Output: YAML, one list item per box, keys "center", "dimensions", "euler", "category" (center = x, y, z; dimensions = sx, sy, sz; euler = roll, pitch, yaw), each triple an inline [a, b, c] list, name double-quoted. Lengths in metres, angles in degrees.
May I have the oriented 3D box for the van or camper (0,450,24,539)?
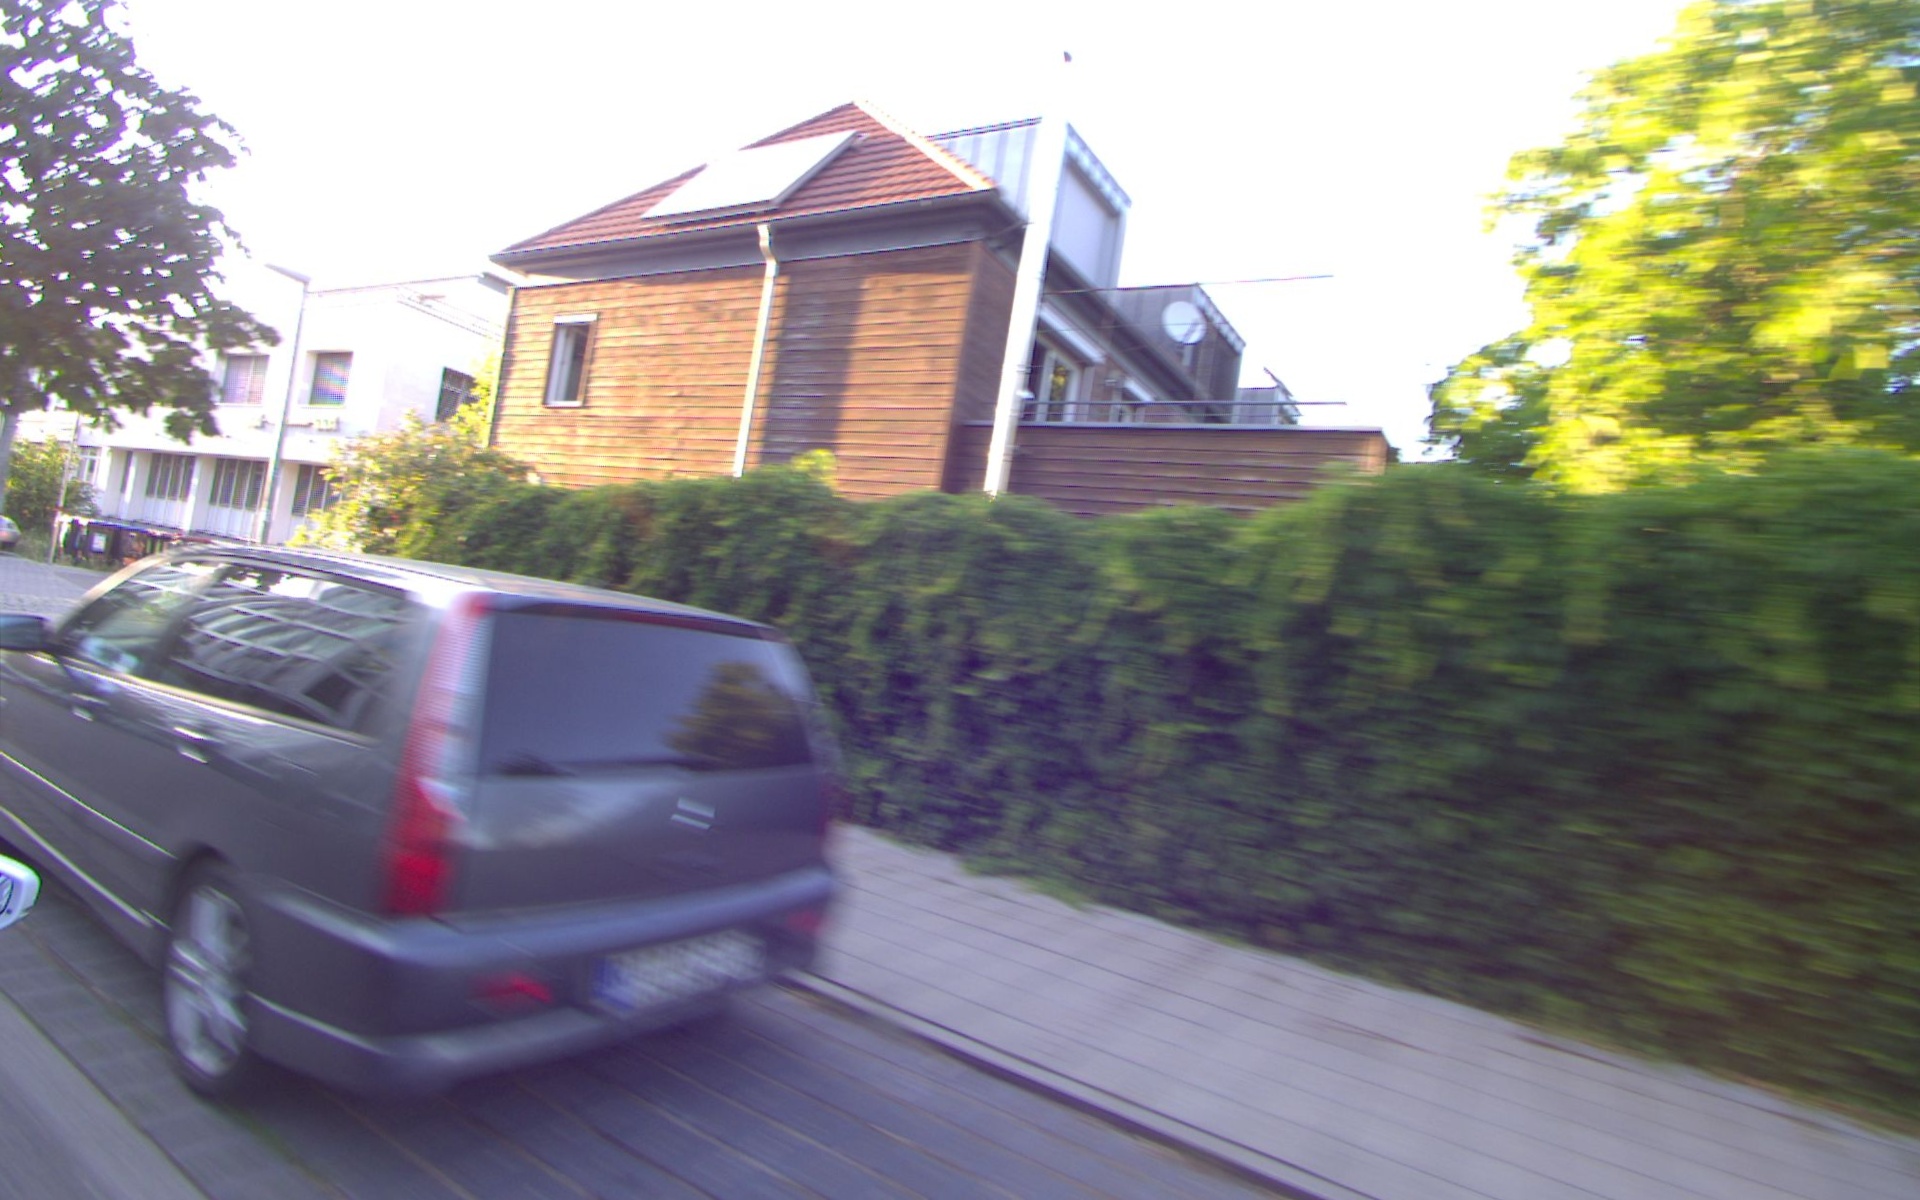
- center: [-33.367, -3.831, 31.289]
  dimensions: [2.390, 2.822, 5.618]
  euler: [9, -1, 34]
  category: "van or camper"

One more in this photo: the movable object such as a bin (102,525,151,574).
- center: [-18.807, -1.138, 22.701]
  dimensions: [0.677, 0.969, 0.579]
  euler: [8, -1, 33]
  category: "movable object such as a bin"

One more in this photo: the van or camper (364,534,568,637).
- center: [-10.798, -0.256, 22.234]
  dimensions: [1.751, 1.652, 3.512]
  euler: [9, -2, 27]
  category: "van or camper"

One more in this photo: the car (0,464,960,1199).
- center: [-2.422, 0.480, 3.958]
  dimensions: [4.526, 1.597, 1.727]
  euler: [7, -3, 36]
  category: "car"

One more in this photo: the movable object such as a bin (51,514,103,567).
- center: [-19.451, -1.313, 22.154]
  dimensions: [0.677, 1.022, 0.579]
  euler: [8, -1, 33]
  category: "movable object such as a bin"

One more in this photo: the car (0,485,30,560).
- center: [-21.775, -1.921, 20.258]
  dimensions: [1.738, 1.496, 4.057]
  euler: [9, -1, 33]
  category: "car"

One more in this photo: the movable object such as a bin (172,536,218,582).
- center: [-18.541, -0.999, 24.380]
  dimensions: [0.677, 0.969, 0.579]
  euler: [8, -1, 33]
  category: "movable object such as a bin"

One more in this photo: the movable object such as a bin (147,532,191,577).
- center: [-19.809, -1.132, 25.189]
  dimensions: [0.677, 0.969, 0.579]
  euler: [8, -1, 33]
  category: "movable object such as a bin"

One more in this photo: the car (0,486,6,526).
- center: [-23.719, -2.149, 21.769]
  dimensions: [1.738, 1.496, 4.056]
  euler: [9, -1, 33]
  category: "car"

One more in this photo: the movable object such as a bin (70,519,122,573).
- center: [-18.817, -1.176, 21.920]
  dimensions: [0.677, 1.022, 0.579]
  euler: [8, -1, 33]
  category: "movable object such as a bin"

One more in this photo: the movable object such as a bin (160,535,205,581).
- center: [-19.125, -1.033, 24.757]
  dimensions: [0.677, 0.969, 0.579]
  euler: [8, -1, 33]
  category: "movable object such as a bin"
